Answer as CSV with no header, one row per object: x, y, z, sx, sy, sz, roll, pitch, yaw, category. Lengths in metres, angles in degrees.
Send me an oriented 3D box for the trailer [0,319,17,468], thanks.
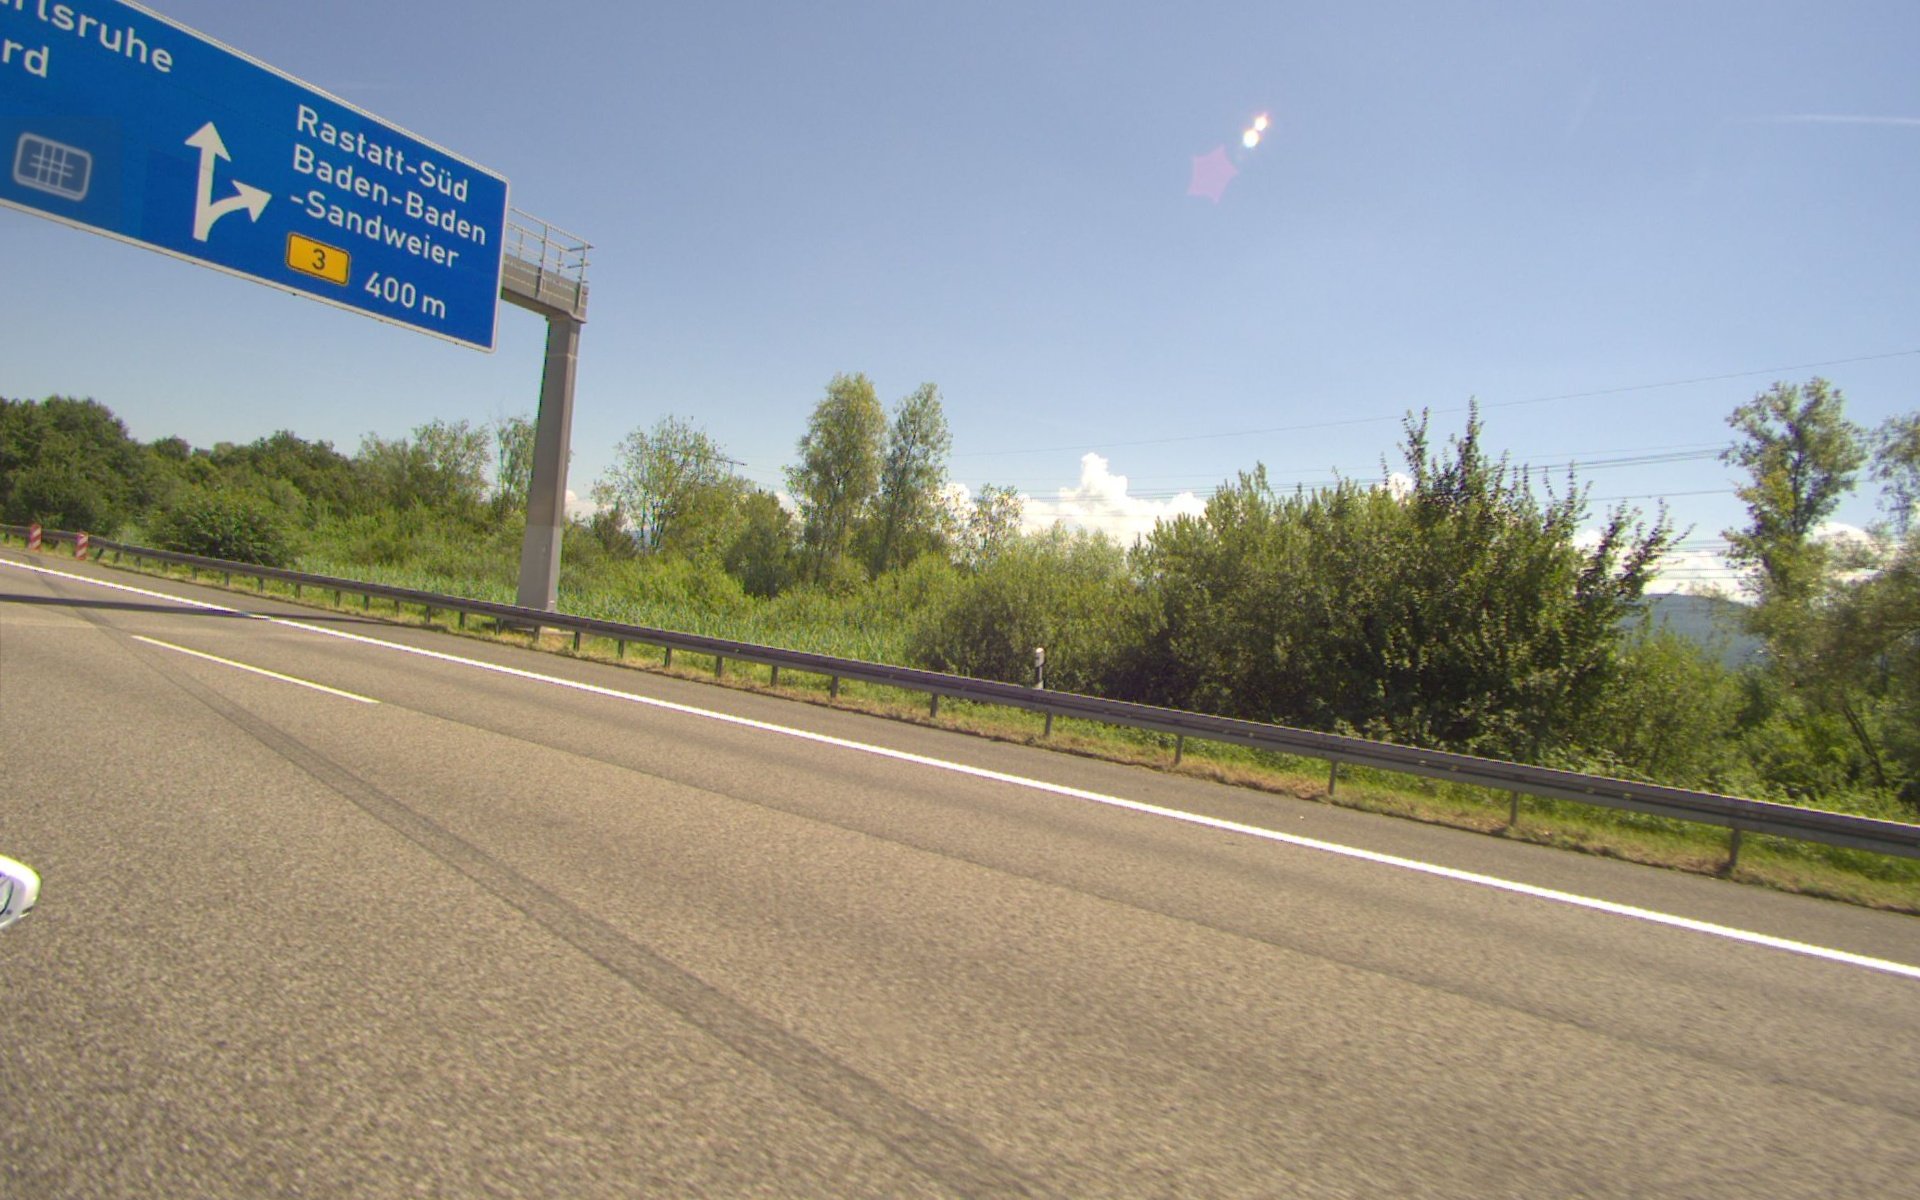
-19.794,-2.685,16.551,12.358,4.084,2.799,6,-1,31,trailer
